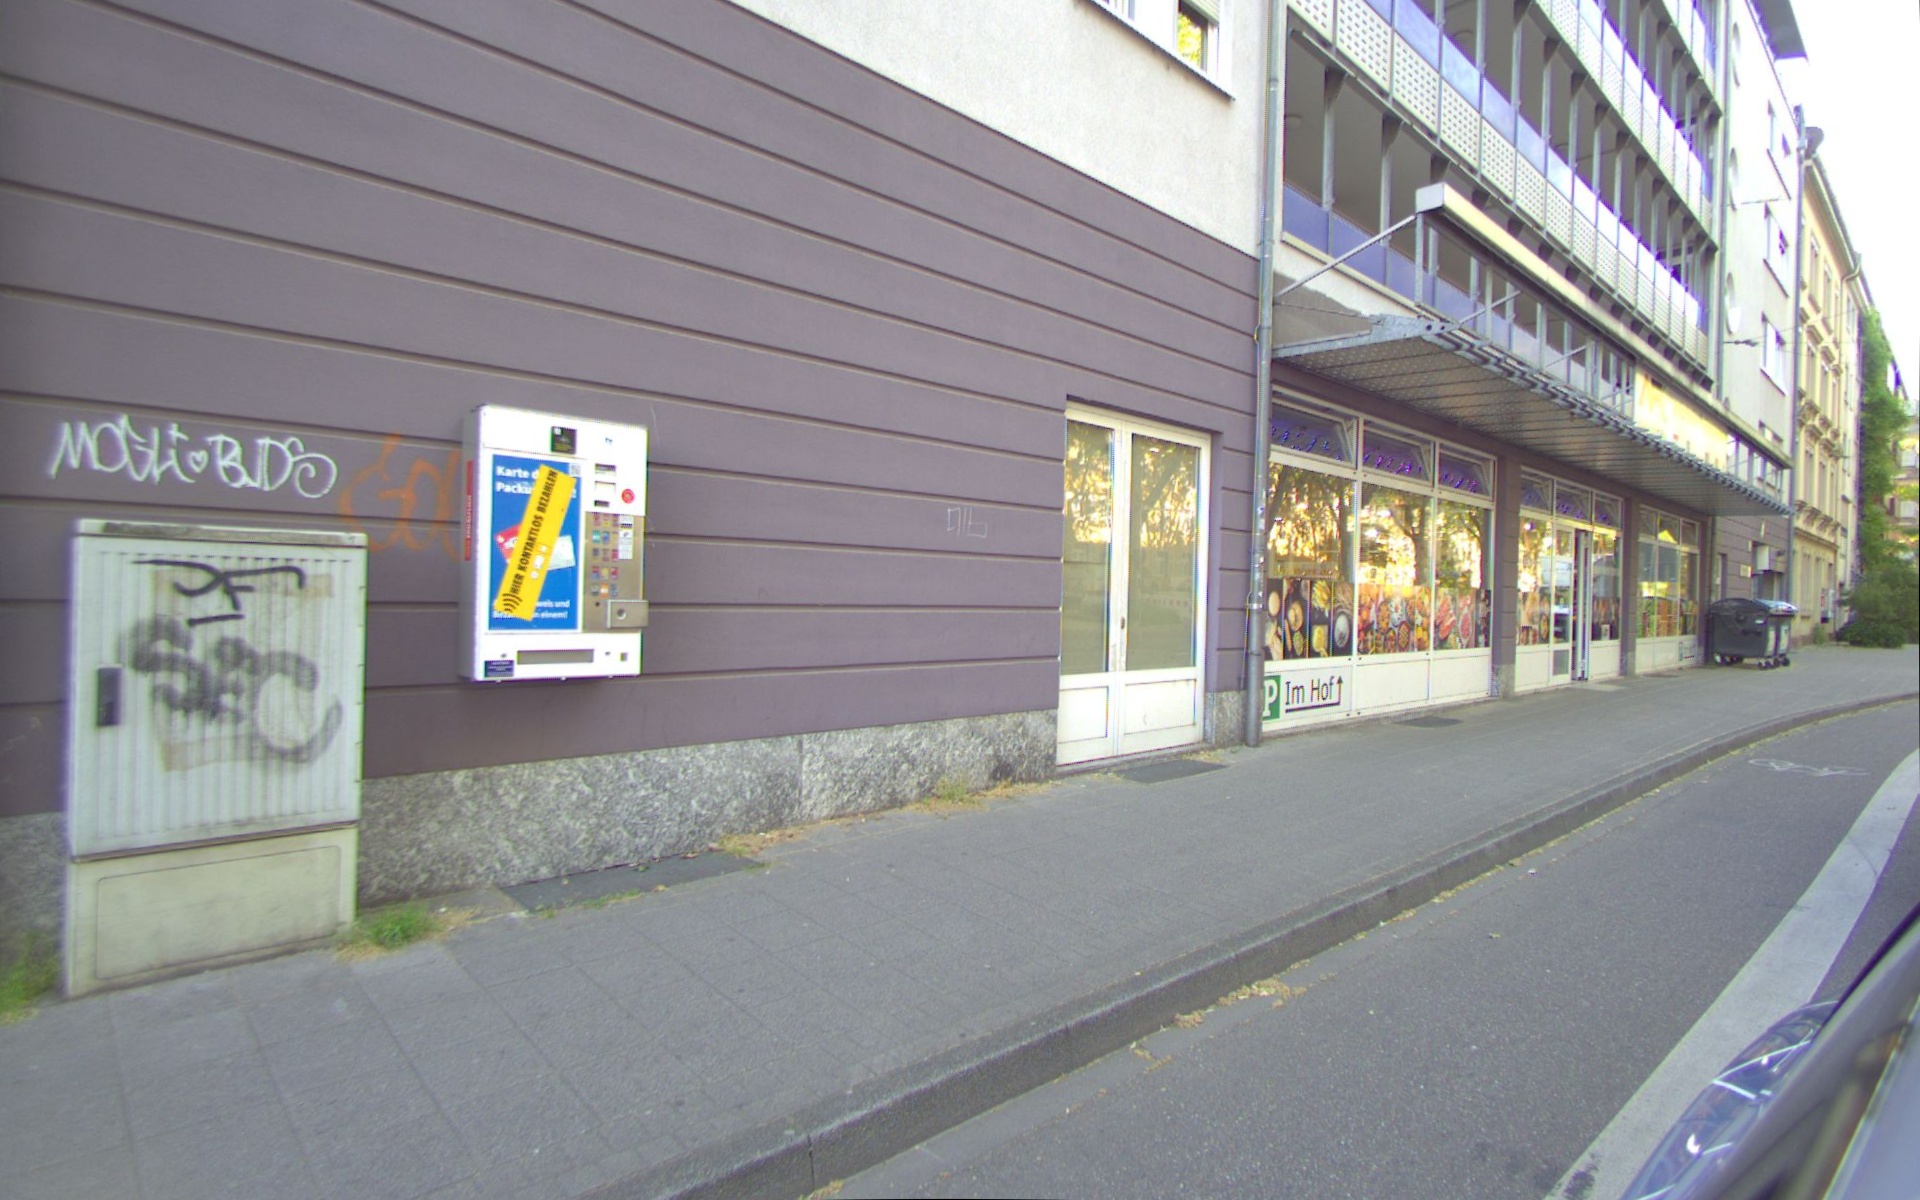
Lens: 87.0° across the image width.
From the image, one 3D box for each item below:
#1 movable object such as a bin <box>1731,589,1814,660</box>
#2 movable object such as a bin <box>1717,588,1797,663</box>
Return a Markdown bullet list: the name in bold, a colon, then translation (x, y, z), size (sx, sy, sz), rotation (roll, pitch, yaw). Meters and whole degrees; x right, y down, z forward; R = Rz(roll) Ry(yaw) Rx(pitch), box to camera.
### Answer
- **movable object such as a bin**: translation (17.791, 0.516, 22.166), size (1.282, 1.464, 1.123), rotation (1, 1, -38)
- **movable object such as a bin**: translation (16.442, 0.495, 20.879), size (1.274, 1.465, 1.068), rotation (1, 1, -42)
